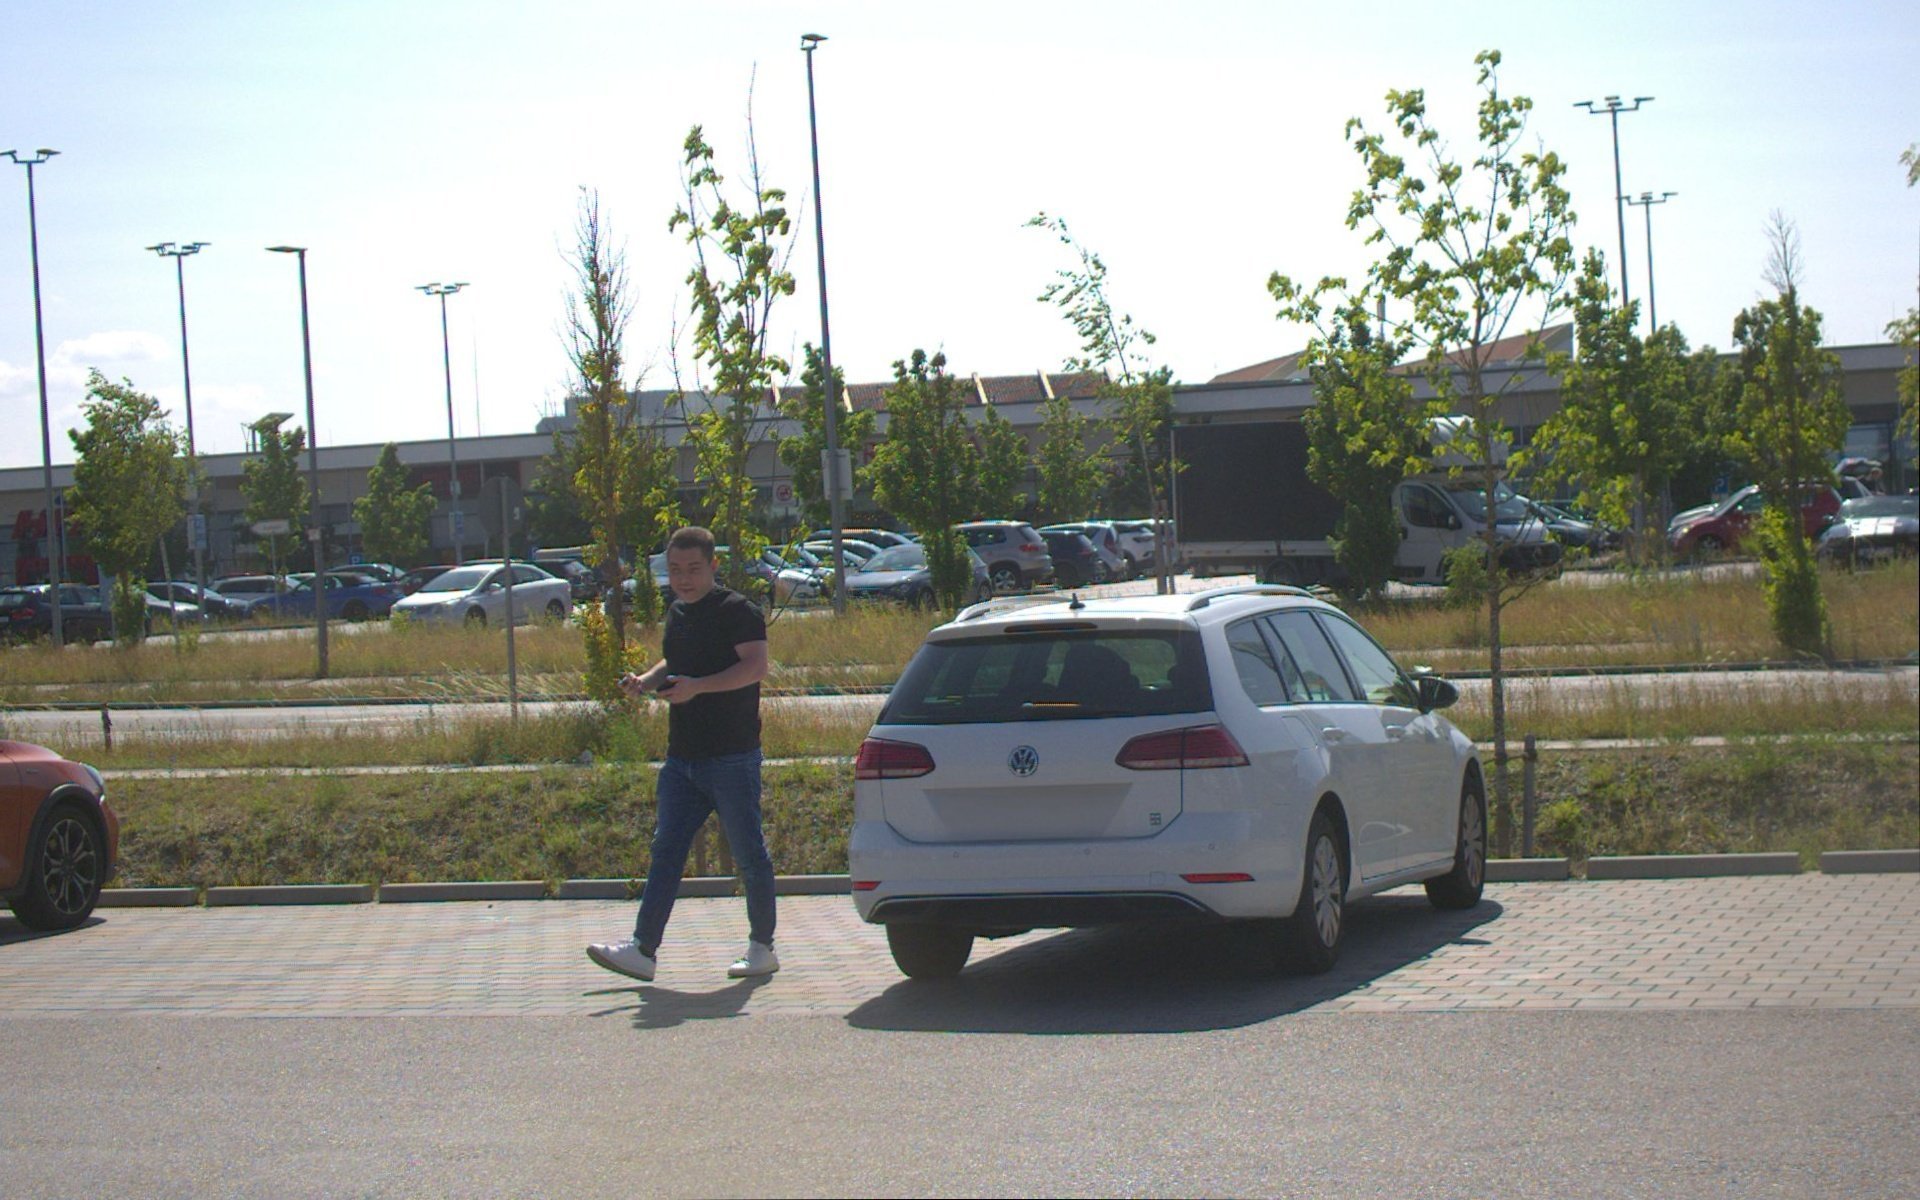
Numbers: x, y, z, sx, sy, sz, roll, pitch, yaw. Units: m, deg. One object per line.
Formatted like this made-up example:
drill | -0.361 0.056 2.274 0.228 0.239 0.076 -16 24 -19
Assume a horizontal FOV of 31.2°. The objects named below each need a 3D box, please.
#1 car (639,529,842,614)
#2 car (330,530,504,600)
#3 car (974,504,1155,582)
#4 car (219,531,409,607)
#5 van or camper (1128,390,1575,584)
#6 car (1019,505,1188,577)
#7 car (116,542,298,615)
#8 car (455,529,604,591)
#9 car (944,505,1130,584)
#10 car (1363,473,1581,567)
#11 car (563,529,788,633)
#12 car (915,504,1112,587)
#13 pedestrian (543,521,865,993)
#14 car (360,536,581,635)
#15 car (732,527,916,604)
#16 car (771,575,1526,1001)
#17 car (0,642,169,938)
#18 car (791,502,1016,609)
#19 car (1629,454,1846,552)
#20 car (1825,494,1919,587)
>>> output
car | -5.196 -0.687 81.731 4.392 1.849 1.955 -2 1 12
car | -15.808 -1.024 100.162 4.560 1.849 1.955 -2 1 12
car | 2.733 -1.488 89.610 4.392 1.849 1.955 -2 1 12
car | -17.308 -0.830 92.219 4.560 1.849 1.955 -2 1 12
van or camper | 6.796 -1.934 60.815 2.413 3.091 8.050 -3 1 -44
car | 4.014 -1.643 95.752 4.392 1.849 1.955 -2 1 12
car | -22.908 -0.662 104.701 4.917 2.007 2.082 -2 1 8
car | -14.105 -1.308 112.741 4.392 1.849 1.955 -2 1 12
car | 1.974 -1.427 87.691 4.392 1.849 1.955 -2 1 12
car | 11.946 -1.865 80.311 4.917 2.007 2.082 -2 1 8
car | -5.536 -0.392 67.424 1.953 1.849 4.396 -1 1 36
car | 1.309 -1.317 82.820 4.392 1.849 1.955 -2 1 12
pedestrian | -1.026 0.605 13.817 0.992 1.803 0.725 -2 -1 -42
car | -9.932 -0.309 69.973 1.997 1.849 4.278 -1 1 36
car | -3.537 -0.901 89.720 4.392 1.849 1.955 -2 1 12
car | 0.980 0.672 14.327 1.829 1.464 4.477 -2 0 21
car | -5.960 1.015 17.052 1.829 1.464 4.349 -2 0 20
car | -1.024 -0.859 64.681 1.953 1.849 4.396 -1 1 36
car | 16.008 -1.995 70.905 4.255 1.849 1.869 -2 1 12
car | 15.528 -1.022 57.858 1.651 1.454 3.963 -2 1 17
